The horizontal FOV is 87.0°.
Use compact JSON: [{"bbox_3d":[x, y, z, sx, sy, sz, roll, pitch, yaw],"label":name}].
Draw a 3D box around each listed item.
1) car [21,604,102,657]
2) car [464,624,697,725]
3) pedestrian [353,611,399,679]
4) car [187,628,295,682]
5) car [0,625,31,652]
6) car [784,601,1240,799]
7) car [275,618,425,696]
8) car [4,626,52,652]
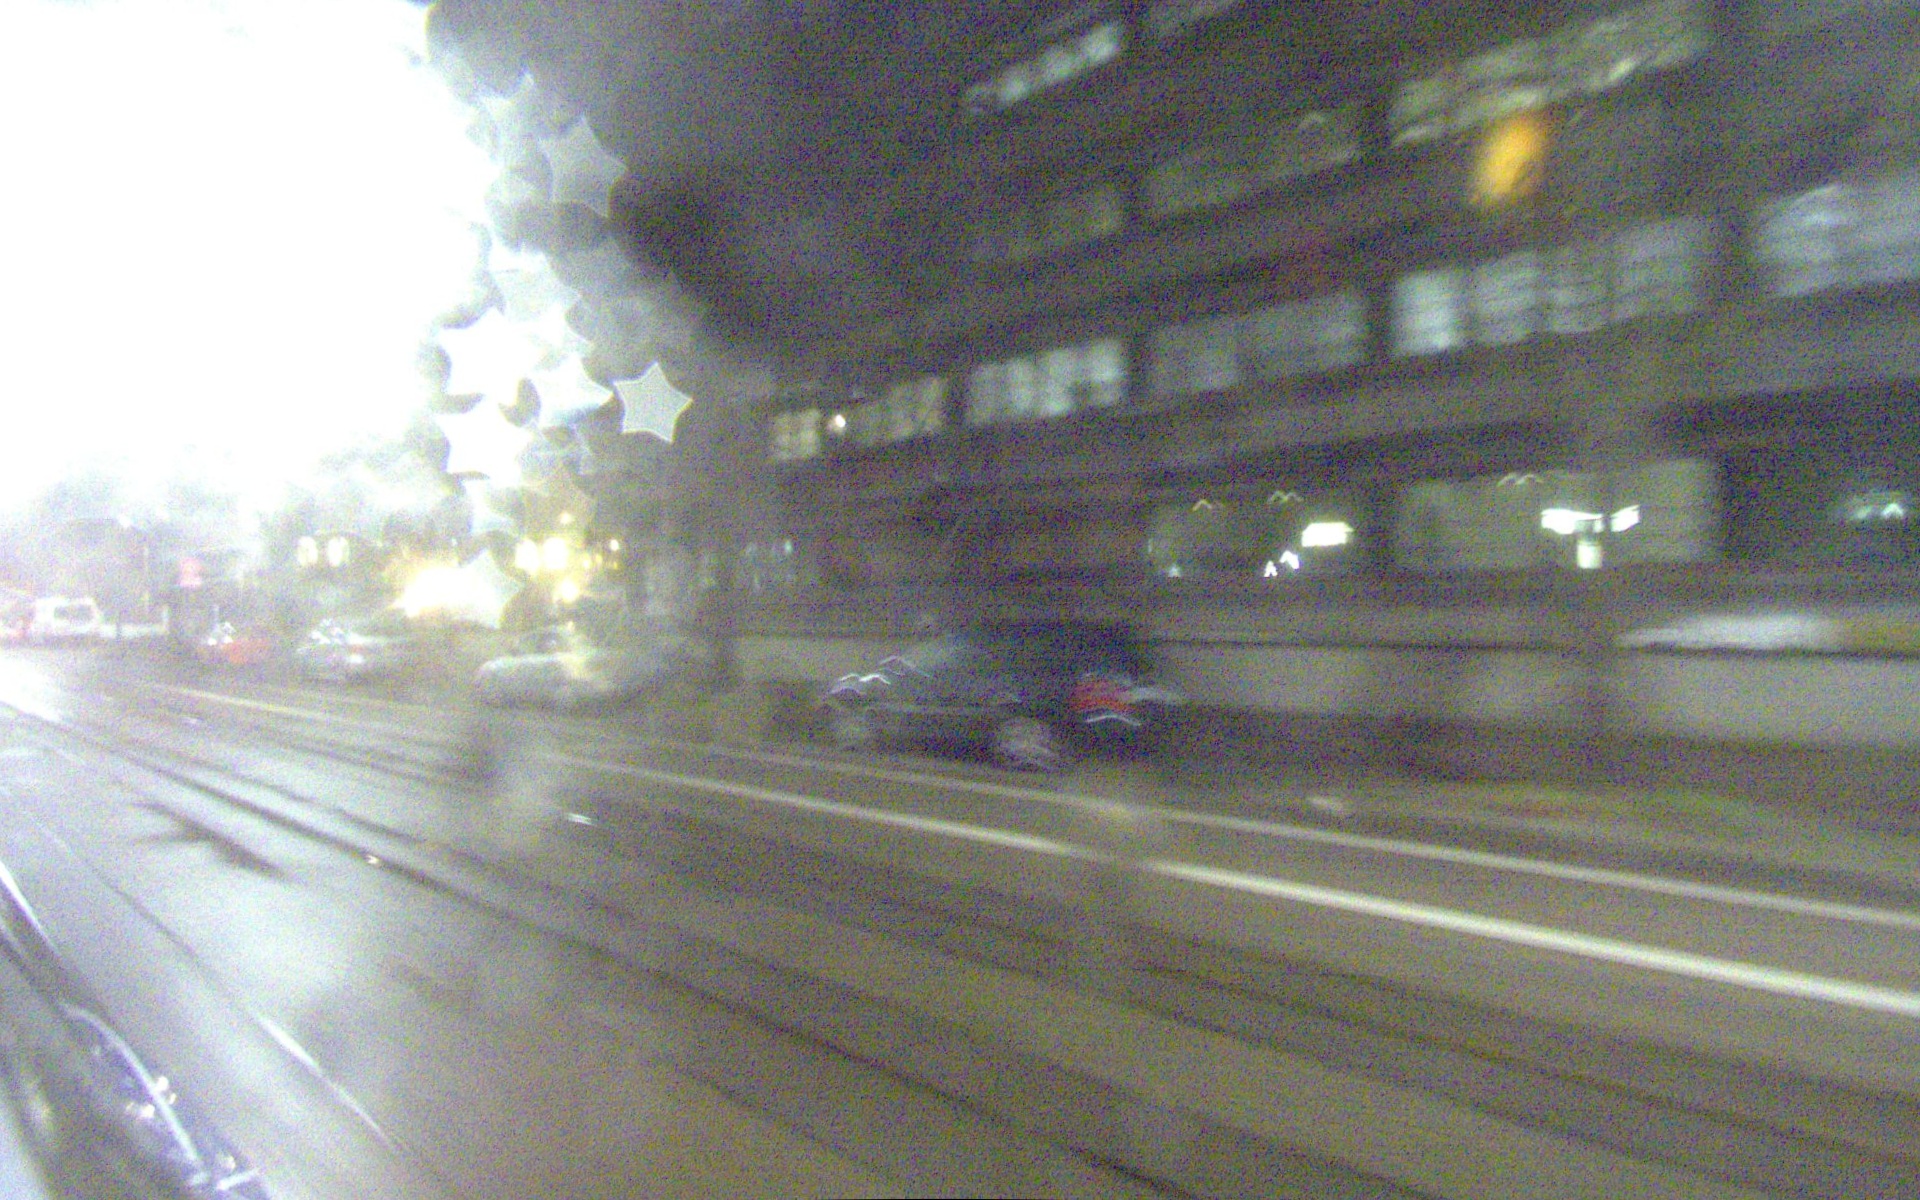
[{"bbox_3d":[-46.335,1.540,52.157,5.254,2.527,2.220,-1,1,39],"label":"car"},{"bbox_3d":[-6.494,1.148,17.049,4.624,1.449,1.713,-1,-1,41],"label":"car"},{"bbox_3d":[-16.684,1.266,28.910,1.290,1.916,0.784,-1,-1,41],"label":"pedestrian"},{"bbox_3d":[-21.344,1.578,30.003,3.948,1.467,1.701,-1,-1,41],"label":"car"},{"bbox_3d":[-62.093,2.500,65.911,3.661,1.593,1.823,-1,1,40],"label":"car"},{"bbox_3d":[0.411,0.886,10.979,4.586,1.631,2.122,-1,1,41],"label":"car"},{"bbox_3d":[-14.612,1.300,24.151,4.351,1.590,1.791,-2,1,41],"label":"car"},{"bbox_3d":[-55.480,2.276,60.236,3.387,1.418,1.698,-1,1,40],"label":"car"}]
